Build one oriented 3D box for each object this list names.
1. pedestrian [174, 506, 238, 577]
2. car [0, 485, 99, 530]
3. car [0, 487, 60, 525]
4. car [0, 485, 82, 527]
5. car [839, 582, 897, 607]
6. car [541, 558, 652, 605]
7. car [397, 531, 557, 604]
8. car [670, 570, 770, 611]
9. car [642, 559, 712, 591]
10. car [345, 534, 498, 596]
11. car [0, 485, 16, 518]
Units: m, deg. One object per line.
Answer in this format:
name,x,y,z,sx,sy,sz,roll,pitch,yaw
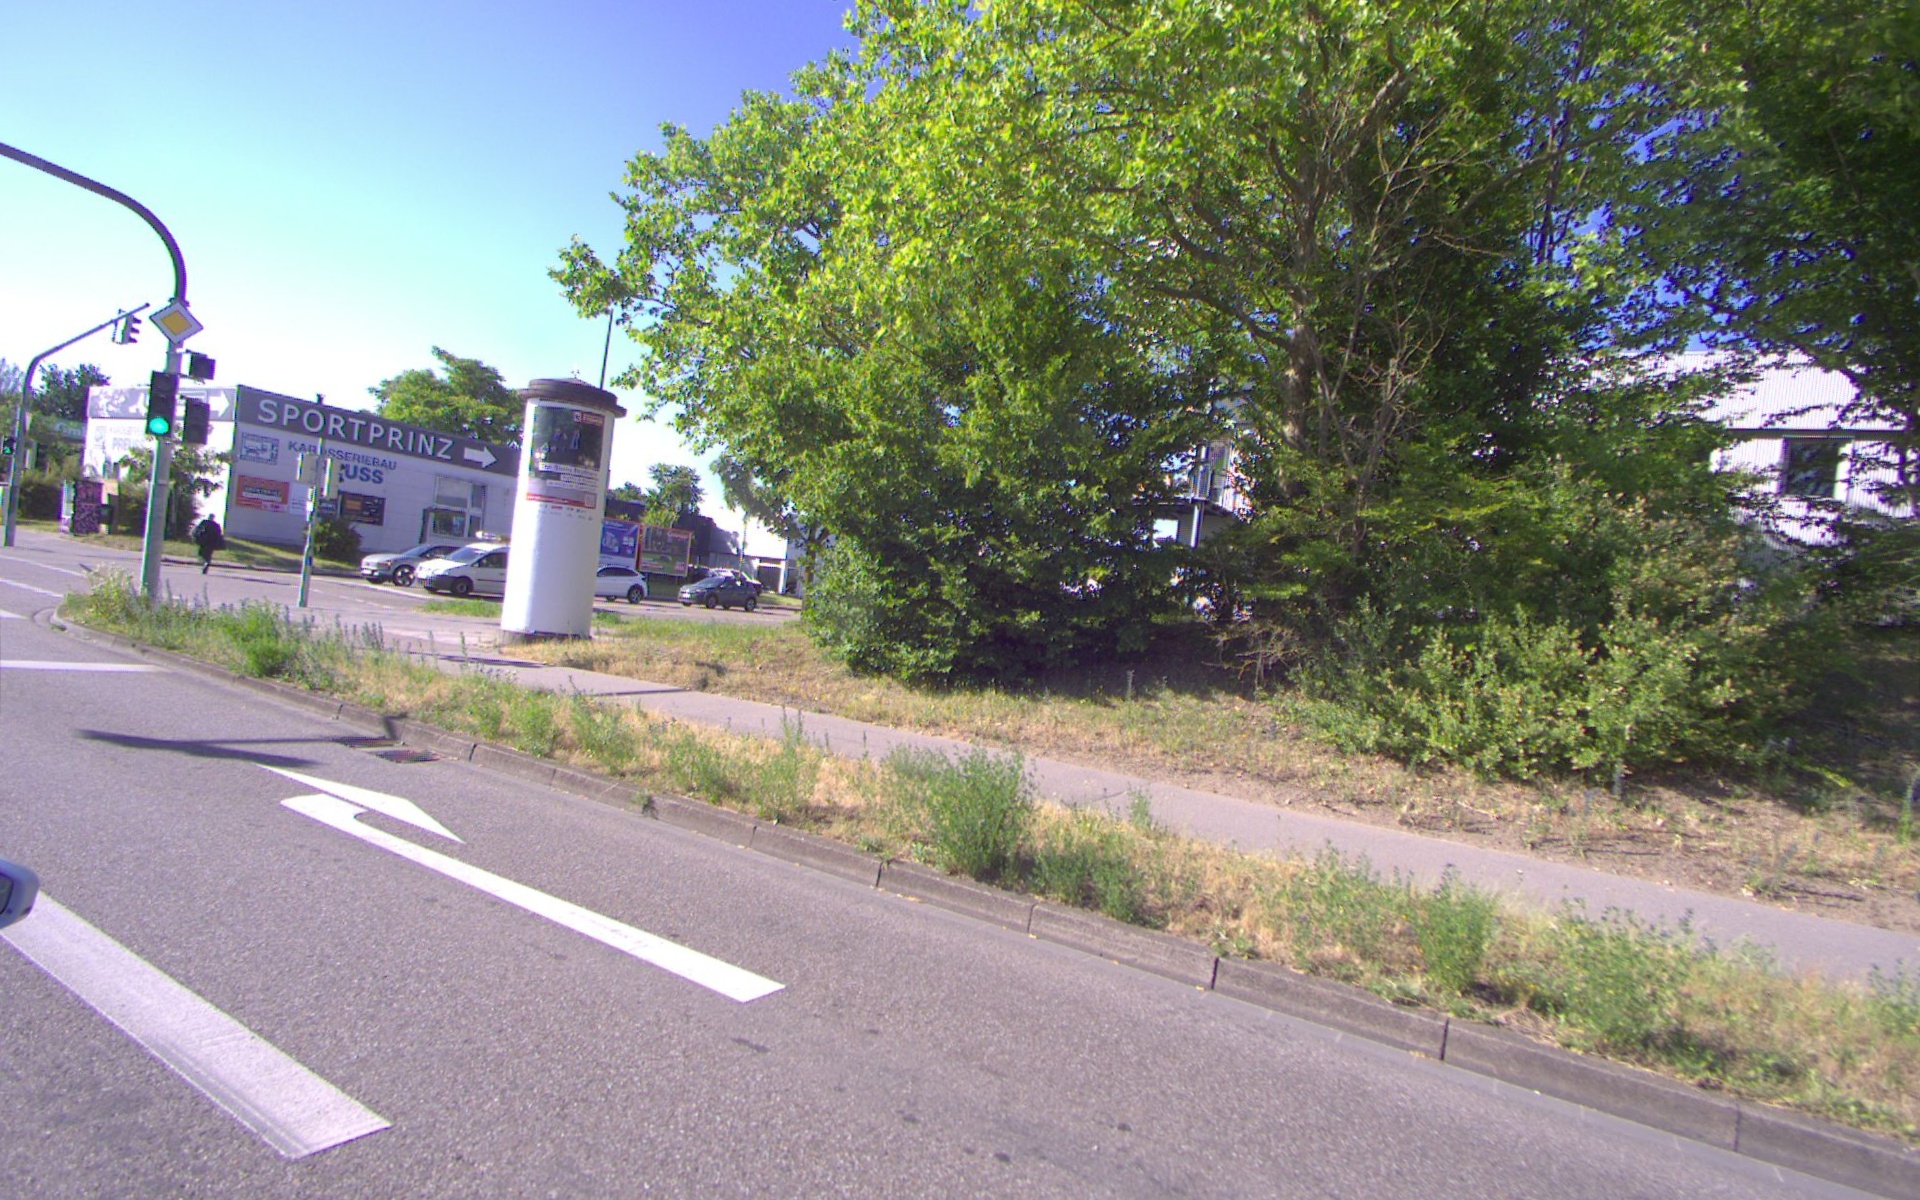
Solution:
pedestrian,-20.355,-1.575,27.157,0.923,1.755,0.927,6,-2,31
car,-39.122,-3.942,41.980,1.828,1.472,4.490,6,1,33
car,-43.672,-4.408,45.168,1.828,1.472,4.490,6,1,33
car,-41.206,-4.188,43.513,1.828,1.472,4.490,6,1,33
car,-6.975,-0.416,76.854,1.737,1.509,4.549,6,1,35
car,-14.806,-0.713,41.166,1.752,1.509,4.046,6,0,29
car,-15.748,-1.013,33.059,1.735,1.824,4.388,8,1,30
car,-11.171,-0.426,47.149,1.736,1.509,4.553,6,1,32
car,-17.716,-1.566,62.857,4.495,1.509,1.758,6,1,36
car,-18.532,-1.171,34.797,1.735,1.568,4.293,8,1,30
car,-46.952,-4.836,46.521,1.828,1.472,4.490,6,1,33
